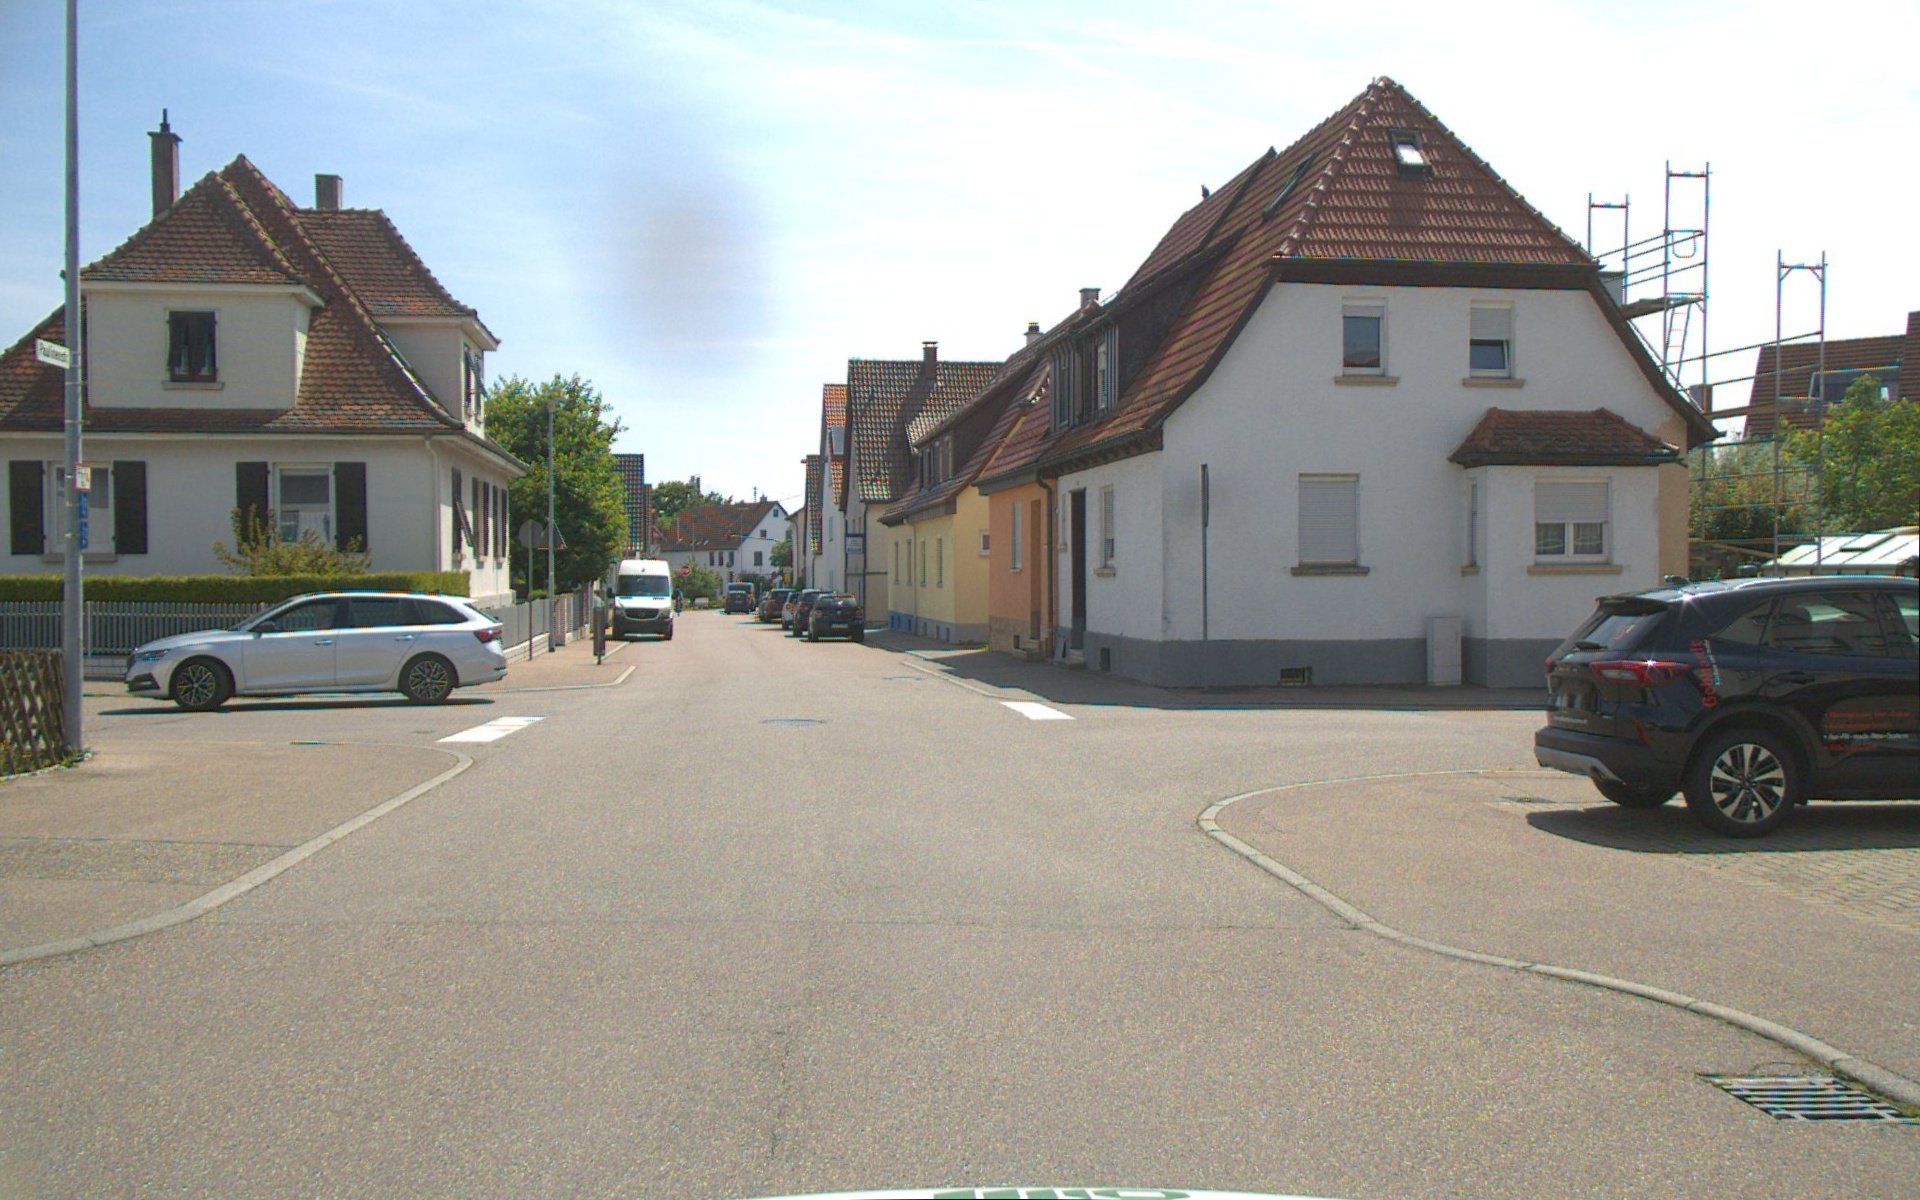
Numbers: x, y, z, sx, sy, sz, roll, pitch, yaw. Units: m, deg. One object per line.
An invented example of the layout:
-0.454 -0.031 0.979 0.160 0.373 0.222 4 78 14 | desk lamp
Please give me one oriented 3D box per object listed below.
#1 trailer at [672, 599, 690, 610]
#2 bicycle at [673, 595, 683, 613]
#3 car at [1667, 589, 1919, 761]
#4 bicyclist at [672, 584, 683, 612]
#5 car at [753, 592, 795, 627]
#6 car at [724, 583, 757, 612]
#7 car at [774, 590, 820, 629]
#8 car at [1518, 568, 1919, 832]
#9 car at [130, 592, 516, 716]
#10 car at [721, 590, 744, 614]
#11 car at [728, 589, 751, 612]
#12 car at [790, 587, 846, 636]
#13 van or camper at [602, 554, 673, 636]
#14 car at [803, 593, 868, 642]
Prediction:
-24.174 0.381 143.073 1.473 0.943 1.010 1 0 -8 | trailer
-18.721 0.272 109.910 0.658 1.152 2.184 0 0 -10 | bicycle
8.994 0.669 15.643 3.906 1.530 1.694 0 0 -1 | car
-18.790 -0.138 109.912 0.700 1.830 0.939 0 0 -11 | bicyclist
-9.447 0.458 83.778 1.842 1.730 4.172 0 0 -11 | car
-16.976 -0.226 128.040 2.086 2.196 4.733 -1 0 -3 | car
-6.823 0.398 69.114 1.644 1.586 3.032 0 0 -11 | car
6.300 0.641 11.533 4.206 1.682 1.847 0 0 -1 | car
-8.212 0.631 21.445 4.517 1.463 1.744 0 0 -26 | car
-16.287 0.114 118.473 1.486 1.653 3.180 -1 0 -6 | car
-15.280 0.024 114.538 1.486 1.594 3.180 0 0 -6 | car
-4.960 0.366 57.346 1.696 1.628 4.245 0 0 -9 | car
-10.861 -0.176 56.093 2.144 2.616 6.792 0 0 -9 | van or camper
-3.921 0.518 51.674 1.582 1.456 3.744 0 0 -11 | car
